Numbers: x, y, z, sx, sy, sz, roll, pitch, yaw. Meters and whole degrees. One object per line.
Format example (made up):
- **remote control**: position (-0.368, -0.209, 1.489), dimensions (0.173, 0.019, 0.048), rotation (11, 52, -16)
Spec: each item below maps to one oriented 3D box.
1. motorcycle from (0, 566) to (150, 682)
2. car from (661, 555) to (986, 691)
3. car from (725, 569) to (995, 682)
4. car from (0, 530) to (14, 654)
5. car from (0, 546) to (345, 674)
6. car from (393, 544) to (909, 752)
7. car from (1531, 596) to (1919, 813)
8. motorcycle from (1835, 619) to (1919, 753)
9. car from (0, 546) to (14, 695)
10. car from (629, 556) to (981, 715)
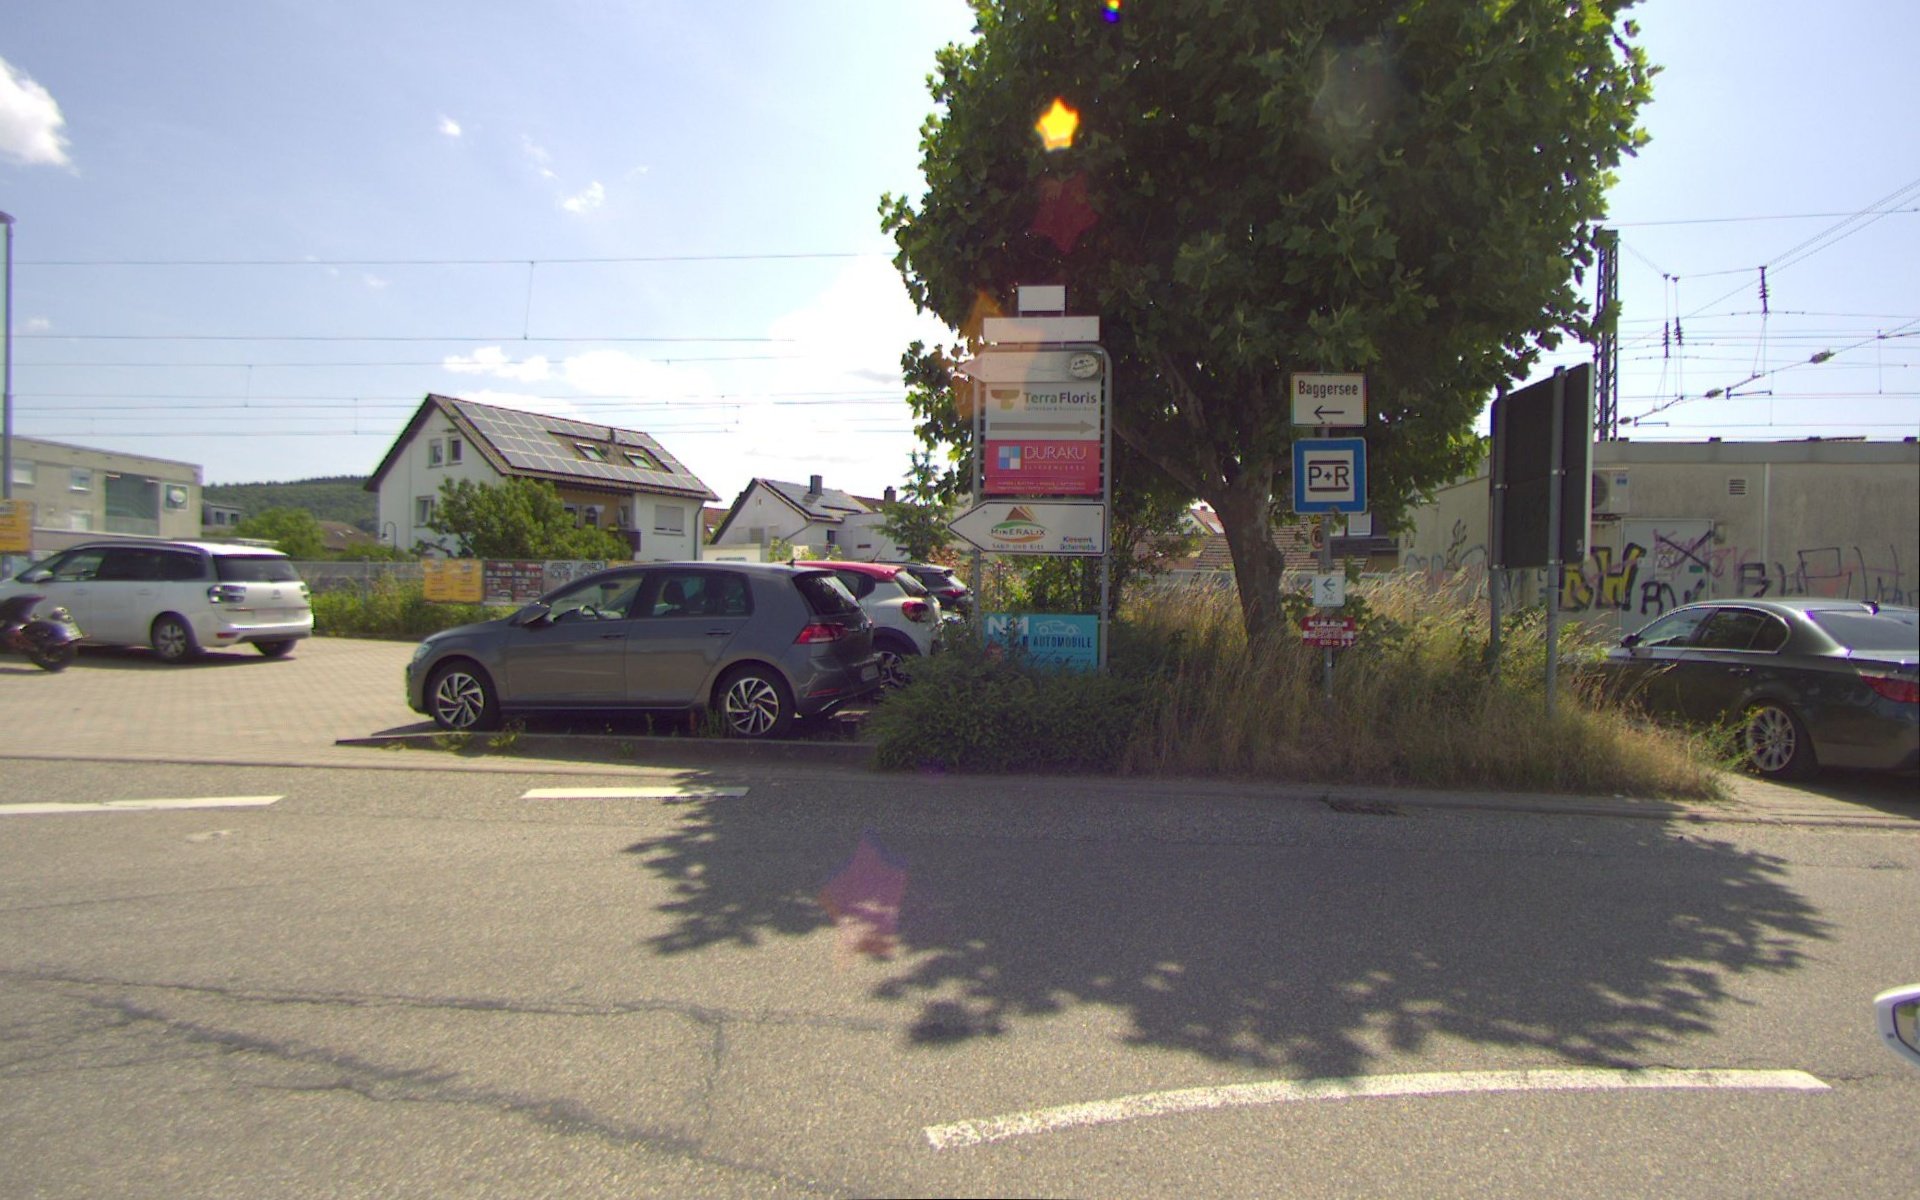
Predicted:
- **motorcycle**: position (-12.039, 0.272, 12.787), dimensions (3.148, 1.391, 0.740), rotation (1, 0, 9)
- **car**: position (-1.794, 0.284, 13.910), dimensions (4.003, 1.659, 2.001), rotation (1, 0, 11)
- **car**: position (-1.564, 0.386, 16.534), dimensions (4.003, 1.659, 2.001), rotation (1, 0, 10)
- **car**: position (-17.917, -0.174, 16.211), dimensions (3.919, 2.040, 1.853), rotation (1, 0, 10)
- **car**: position (-11.686, 0.103, 14.825), dimensions (4.176, 1.680, 2.001), rotation (1, 1, 11)
- **car**: position (-2.603, 0.350, 8.833), dimensions (3.980, 1.551, 1.691), rotation (1, 0, 11)
- **car**: position (7.166, 0.714, 8.789), dimensions (1.753, 1.429, 4.440), rotation (1, 0, -1)
- **motorcycle**: position (9.767, 0.857, 9.503), dimensions (0.703, 1.298, 2.734), rotation (1, 0, 4)
- **car**: position (-12.364, 0.175, 10.152), dimensions (4.176, 1.585, 1.810), rotation (1, 0, 7)
- **car**: position (-1.653, 0.351, 11.334), dimensions (3.506, 1.557, 1.798), rotation (1, 0, 11)
